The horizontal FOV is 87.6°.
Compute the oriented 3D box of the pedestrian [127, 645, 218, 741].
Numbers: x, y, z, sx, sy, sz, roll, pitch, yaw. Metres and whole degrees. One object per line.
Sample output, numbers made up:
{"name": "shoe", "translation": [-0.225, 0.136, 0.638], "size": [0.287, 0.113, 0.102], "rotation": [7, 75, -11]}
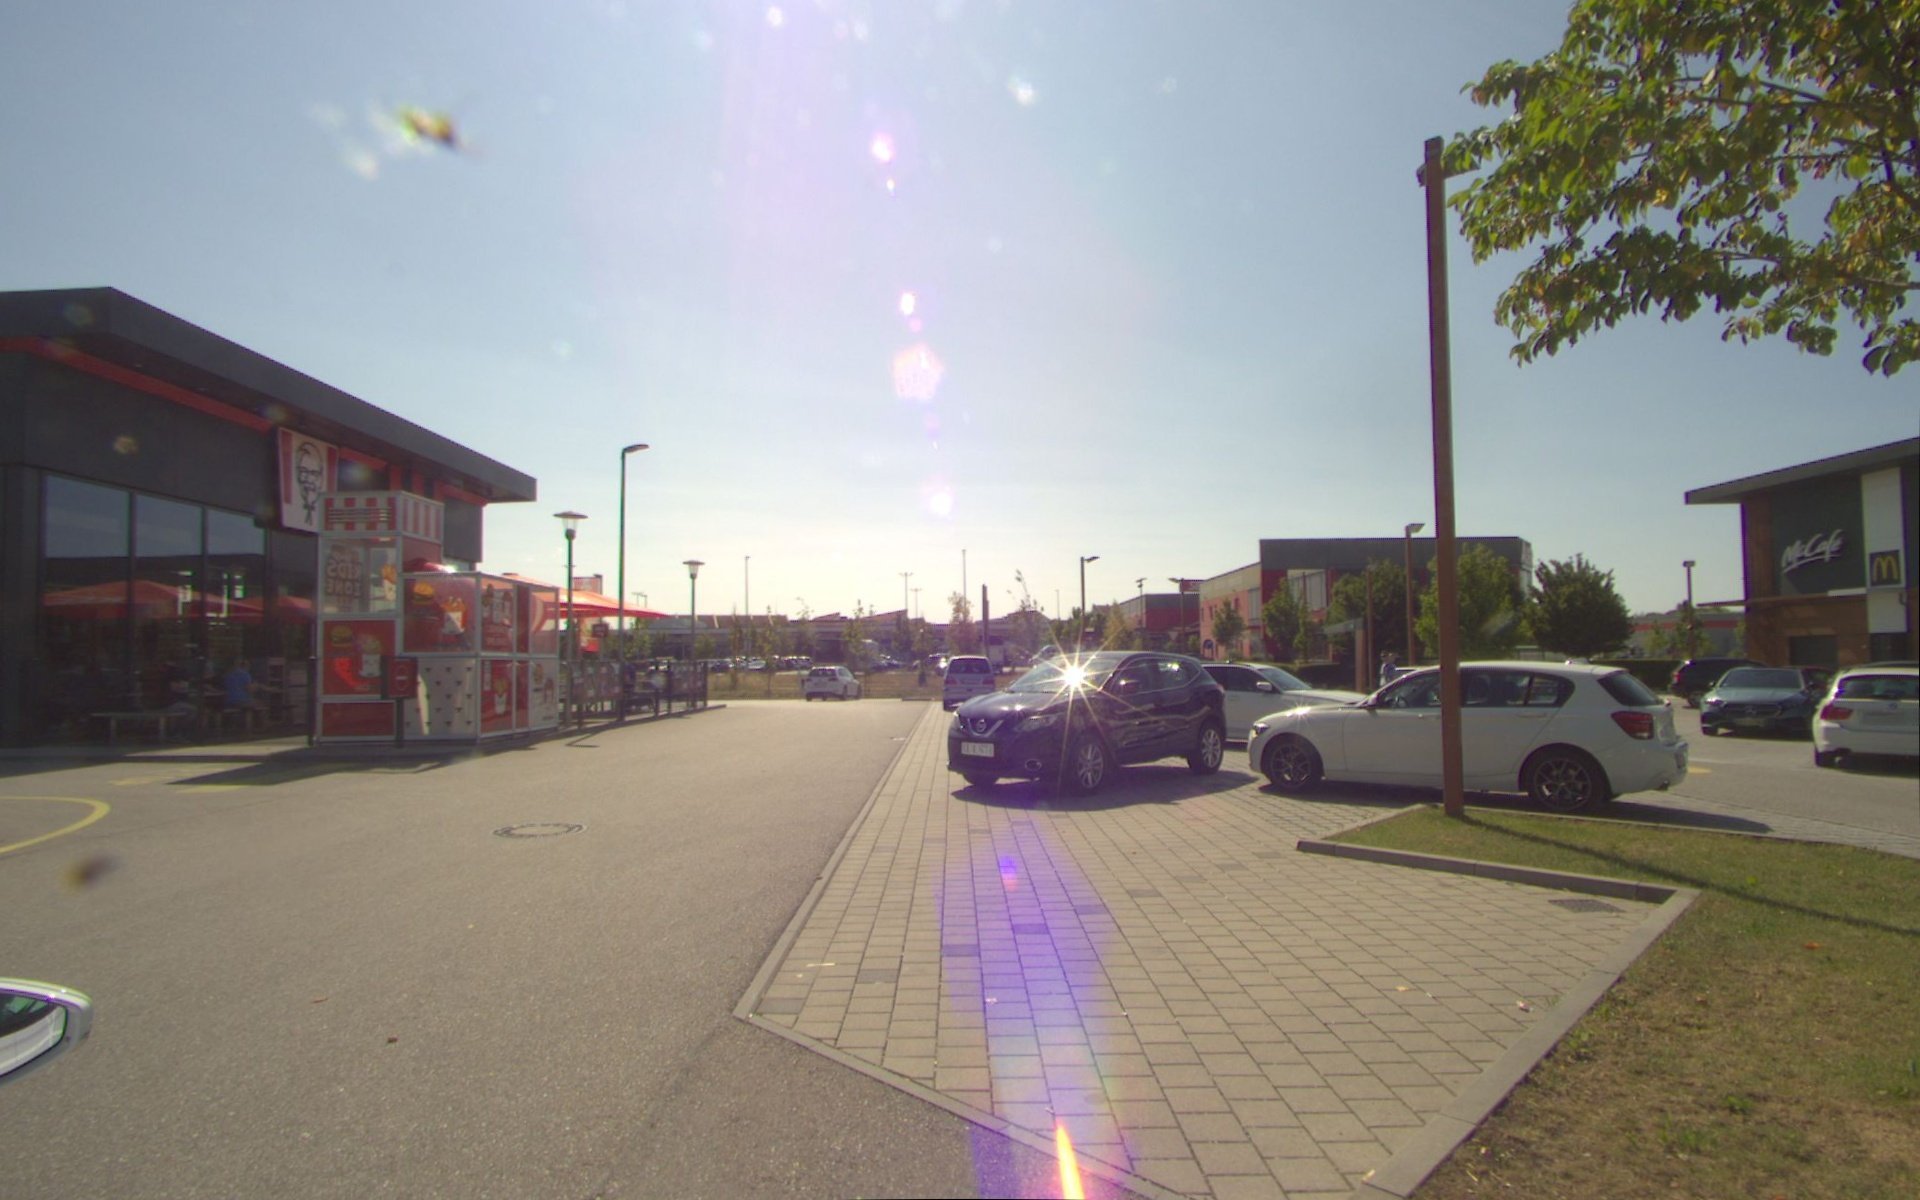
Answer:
{"name": "pedestrian", "translation": [-12.221, 1.431, 15.559], "size": [0.757, 1.453, 0.800], "rotation": [0, -2, -3]}

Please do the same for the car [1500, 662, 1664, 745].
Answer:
{"name": "car", "translation": [13.091, 2.078, 20.967], "size": [1.965, 1.529, 4.377], "rotation": [-3, -5, 45]}

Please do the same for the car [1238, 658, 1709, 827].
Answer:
{"name": "car", "translation": [5.306, 1.360, 10.717], "size": [4.143, 1.443, 1.829], "rotation": [-3, -5, 43]}

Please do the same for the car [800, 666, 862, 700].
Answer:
{"name": "car", "translation": [-5.632, 3.638, 44.107], "size": [1.852, 1.415, 4.159], "rotation": [0, -4, 5]}

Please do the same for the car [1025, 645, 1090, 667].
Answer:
{"name": "car", "translation": [10.106, 5.830, 103.892], "size": [6.444, 2.271, 2.303], "rotation": [0, -3, -1]}

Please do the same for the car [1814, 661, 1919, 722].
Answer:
{"name": "car", "translation": [26.272, 2.507, 27.675], "size": [3.792, 1.652, 1.750], "rotation": [-2, -4, 33]}

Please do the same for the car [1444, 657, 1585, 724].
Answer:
{"name": "car", "translation": [13.988, 2.209, 25.159], "size": [1.965, 1.529, 4.377], "rotation": [-3, -5, 45]}

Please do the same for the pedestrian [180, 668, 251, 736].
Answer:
{"name": "pedestrian", "translation": [-12.190, 1.660, 16.405], "size": [0.617, 1.085, 0.718], "rotation": [0, -2, -3]}

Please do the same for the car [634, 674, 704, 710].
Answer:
{"name": "car", "translation": [-12.968, 4.089, 44.838], "size": [1.655, 1.471, 3.758], "rotation": [0, -3, 7]}

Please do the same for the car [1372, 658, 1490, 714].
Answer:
{"name": "car", "translation": [13.150, 2.361, 27.868], "size": [3.867, 1.443, 1.691], "rotation": [4, -5, -43]}

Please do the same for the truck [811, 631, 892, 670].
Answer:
{"name": "truck", "translation": [-9.853, 4.606, 90.852], "size": [7.461, 3.393, 2.410], "rotation": [-2, -3, 33]}

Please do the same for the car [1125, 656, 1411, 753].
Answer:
{"name": "car", "translation": [5.304, 1.756, 17.605], "size": [4.422, 1.489, 1.900], "rotation": [-3, -4, 41]}

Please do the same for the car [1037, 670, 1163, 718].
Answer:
{"name": "car", "translation": [4.886, 3.261, 35.176], "size": [4.001, 1.575, 1.797], "rotation": [-3, -4, 35]}

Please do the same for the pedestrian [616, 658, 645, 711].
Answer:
{"name": "pedestrian", "translation": [-8.210, 2.089, 24.948], "size": [0.587, 1.285, 0.684], "rotation": [1, -3, -26]}

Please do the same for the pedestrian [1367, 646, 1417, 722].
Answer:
{"name": "pedestrian", "translation": [11.269, 2.173, 26.150], "size": [1.009, 1.939, 0.903], "rotation": [-1, -3, 11]}

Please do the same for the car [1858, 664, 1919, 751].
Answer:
{"name": "car", "translation": [17.821, 1.902, 18.237], "size": [4.036, 1.466, 1.812], "rotation": [3, -5, -43]}

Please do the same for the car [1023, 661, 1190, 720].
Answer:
{"name": "car", "translation": [4.094, 2.498, 28.155], "size": [4.287, 1.530, 1.772], "rotation": [-2, -4, 30]}

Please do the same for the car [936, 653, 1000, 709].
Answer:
{"name": "car", "translation": [0.263, 2.692, 33.785], "size": [2.032, 1.771, 4.372], "rotation": [0, -3, 0]}

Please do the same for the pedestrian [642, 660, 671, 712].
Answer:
{"name": "pedestrian", "translation": [-7.663, 2.160, 25.271], "size": [0.587, 1.285, 0.684], "rotation": [1, -3, -26]}

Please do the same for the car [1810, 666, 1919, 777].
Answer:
{"name": "car", "translation": [13.686, 1.695, 14.596], "size": [1.775, 1.425, 4.049], "rotation": [-3, -5, 43]}

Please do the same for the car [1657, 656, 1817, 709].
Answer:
{"name": "car", "translation": [26.550, 2.833, 34.380], "size": [3.971, 1.726, 1.672], "rotation": [-2, -3, 22]}

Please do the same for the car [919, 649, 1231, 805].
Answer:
{"name": "car", "translation": [1.545, 1.427, 12.337], "size": [1.739, 1.595, 4.052], "rotation": [-3, -4, 43]}

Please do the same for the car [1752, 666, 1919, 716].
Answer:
{"name": "car", "translation": [26.830, 2.775, 30.685], "size": [3.715, 1.461, 1.670], "rotation": [-3, -4, 28]}

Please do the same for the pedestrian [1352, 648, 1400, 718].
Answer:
{"name": "pedestrian", "translation": [11.881, 2.352, 28.579], "size": [0.907, 1.939, 0.897], "rotation": [2, -3, -35]}

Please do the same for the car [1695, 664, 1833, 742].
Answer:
{"name": "car", "translation": [17.778, 2.177, 22.064], "size": [1.869, 1.529, 4.502], "rotation": [-3, -5, 45]}

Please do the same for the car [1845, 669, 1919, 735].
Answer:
{"name": "car", "translation": [22.696, 2.338, 23.038], "size": [3.377, 1.500, 1.557], "rotation": [-4, -5, 40]}
